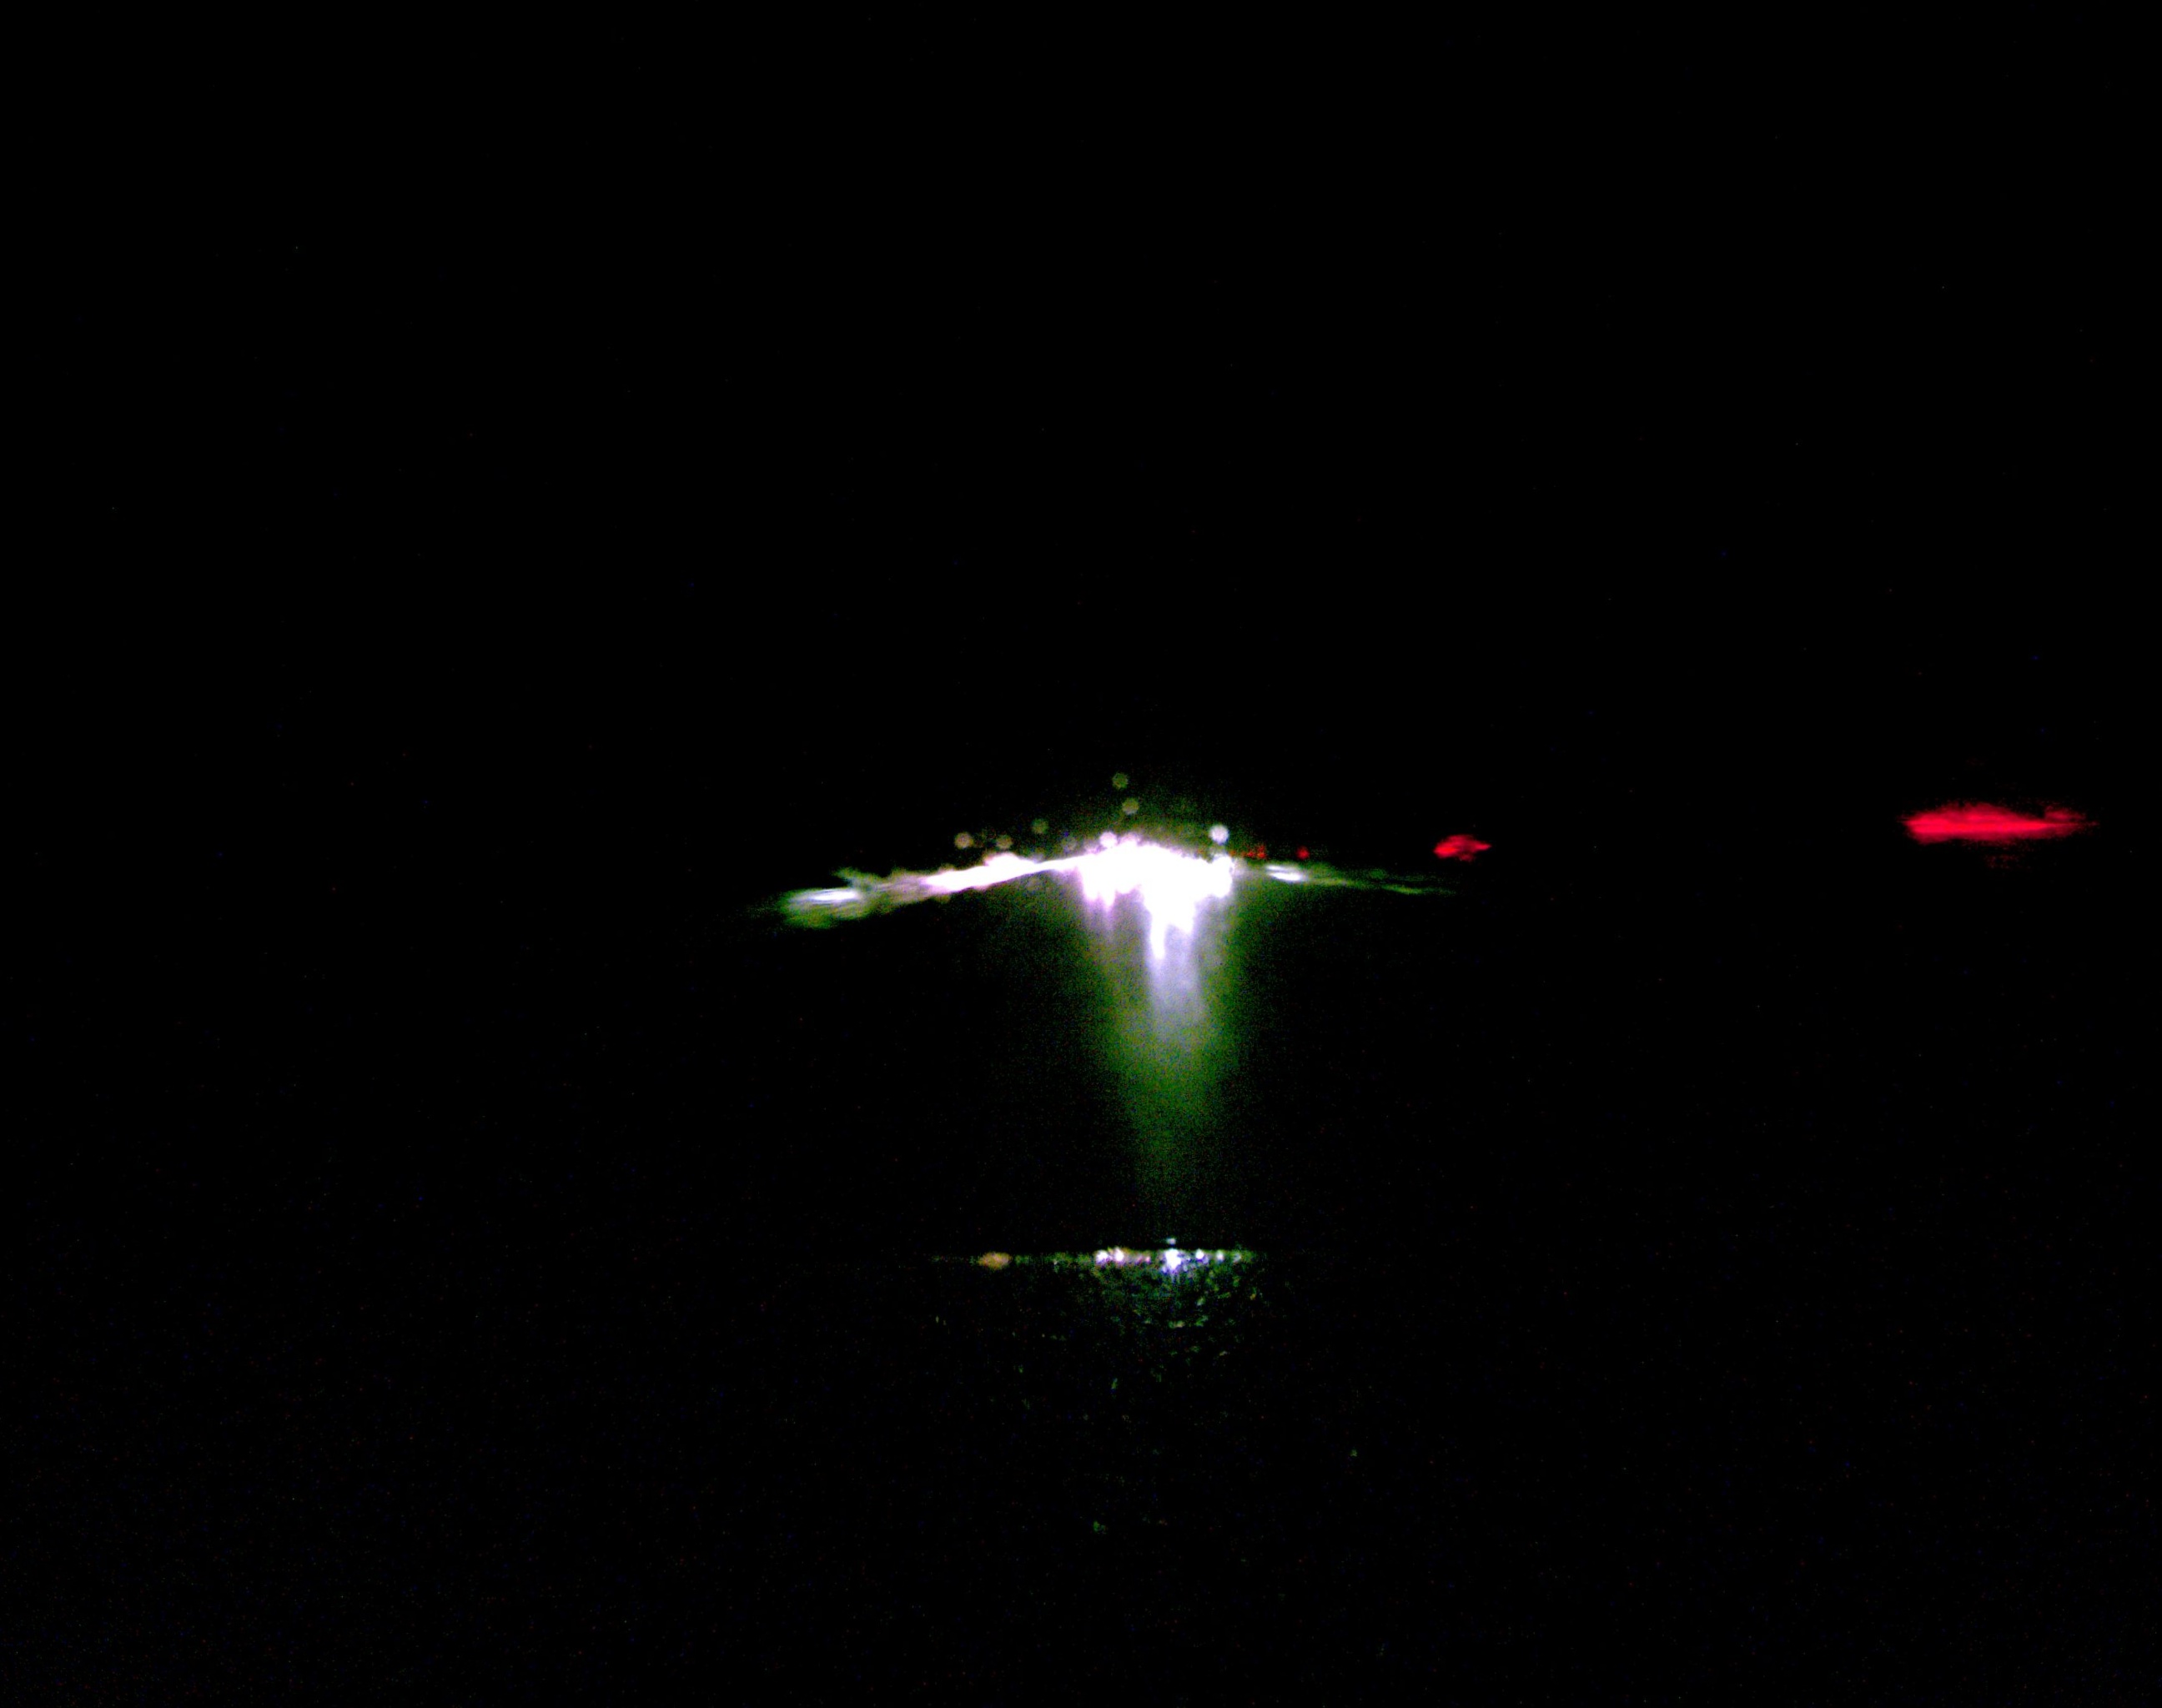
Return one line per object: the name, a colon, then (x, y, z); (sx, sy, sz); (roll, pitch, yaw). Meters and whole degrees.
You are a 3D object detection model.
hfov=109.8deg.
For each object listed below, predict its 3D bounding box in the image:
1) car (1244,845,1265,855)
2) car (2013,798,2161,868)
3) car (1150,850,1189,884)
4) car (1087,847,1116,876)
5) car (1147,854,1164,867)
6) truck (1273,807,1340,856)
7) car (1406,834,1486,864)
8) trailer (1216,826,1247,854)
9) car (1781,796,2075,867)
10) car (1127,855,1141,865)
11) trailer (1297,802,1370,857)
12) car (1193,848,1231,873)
car: (23.457, -0.520, 102.895); (1.711, 1.214, 4.272); (-4, 0, 0)
car: (24.276, -0.503, 16.870); (1.884, 1.456, 4.299); (-4, 0, 2)
car: (4.949, 0.688, 42.634); (1.998, 1.667, 4.001); (-3, 1, 5)
car: (1.614, 0.543, 57.807); (1.998, 2.002, 4.000); (-3, 1, 3)
car: (10.288, 0.922, 105.360); (1.998, 1.667, 4.000); (-3, 1, 2)
truck: (26.789, -2.562, 90.919); (4.350, 5.111, 10.471); (-6, 0, 0)
car: (20.907, -0.285, 43.858); (1.977, 1.456, 5.369); (-4, 0, 0)
trailer: (31.631, -2.803, 160.037); (4.177, 5.413, 13.748); (-3, 0, 3)
car: (21.147, -0.516, 19.393); (1.977, 1.456, 4.898); (-4, 0, 0)
car: (7.038, 0.811, 101.387); (1.693, 1.149, 3.421); (-3, 0, 2)
trailer: (26.765, -2.501, 81.072); (4.350, 5.111, 8.996); (-6, 0, 0)
car: (9.339, 0.441, 54.330); (2.309, 1.600, 3.872); (-3, 1, 5)
